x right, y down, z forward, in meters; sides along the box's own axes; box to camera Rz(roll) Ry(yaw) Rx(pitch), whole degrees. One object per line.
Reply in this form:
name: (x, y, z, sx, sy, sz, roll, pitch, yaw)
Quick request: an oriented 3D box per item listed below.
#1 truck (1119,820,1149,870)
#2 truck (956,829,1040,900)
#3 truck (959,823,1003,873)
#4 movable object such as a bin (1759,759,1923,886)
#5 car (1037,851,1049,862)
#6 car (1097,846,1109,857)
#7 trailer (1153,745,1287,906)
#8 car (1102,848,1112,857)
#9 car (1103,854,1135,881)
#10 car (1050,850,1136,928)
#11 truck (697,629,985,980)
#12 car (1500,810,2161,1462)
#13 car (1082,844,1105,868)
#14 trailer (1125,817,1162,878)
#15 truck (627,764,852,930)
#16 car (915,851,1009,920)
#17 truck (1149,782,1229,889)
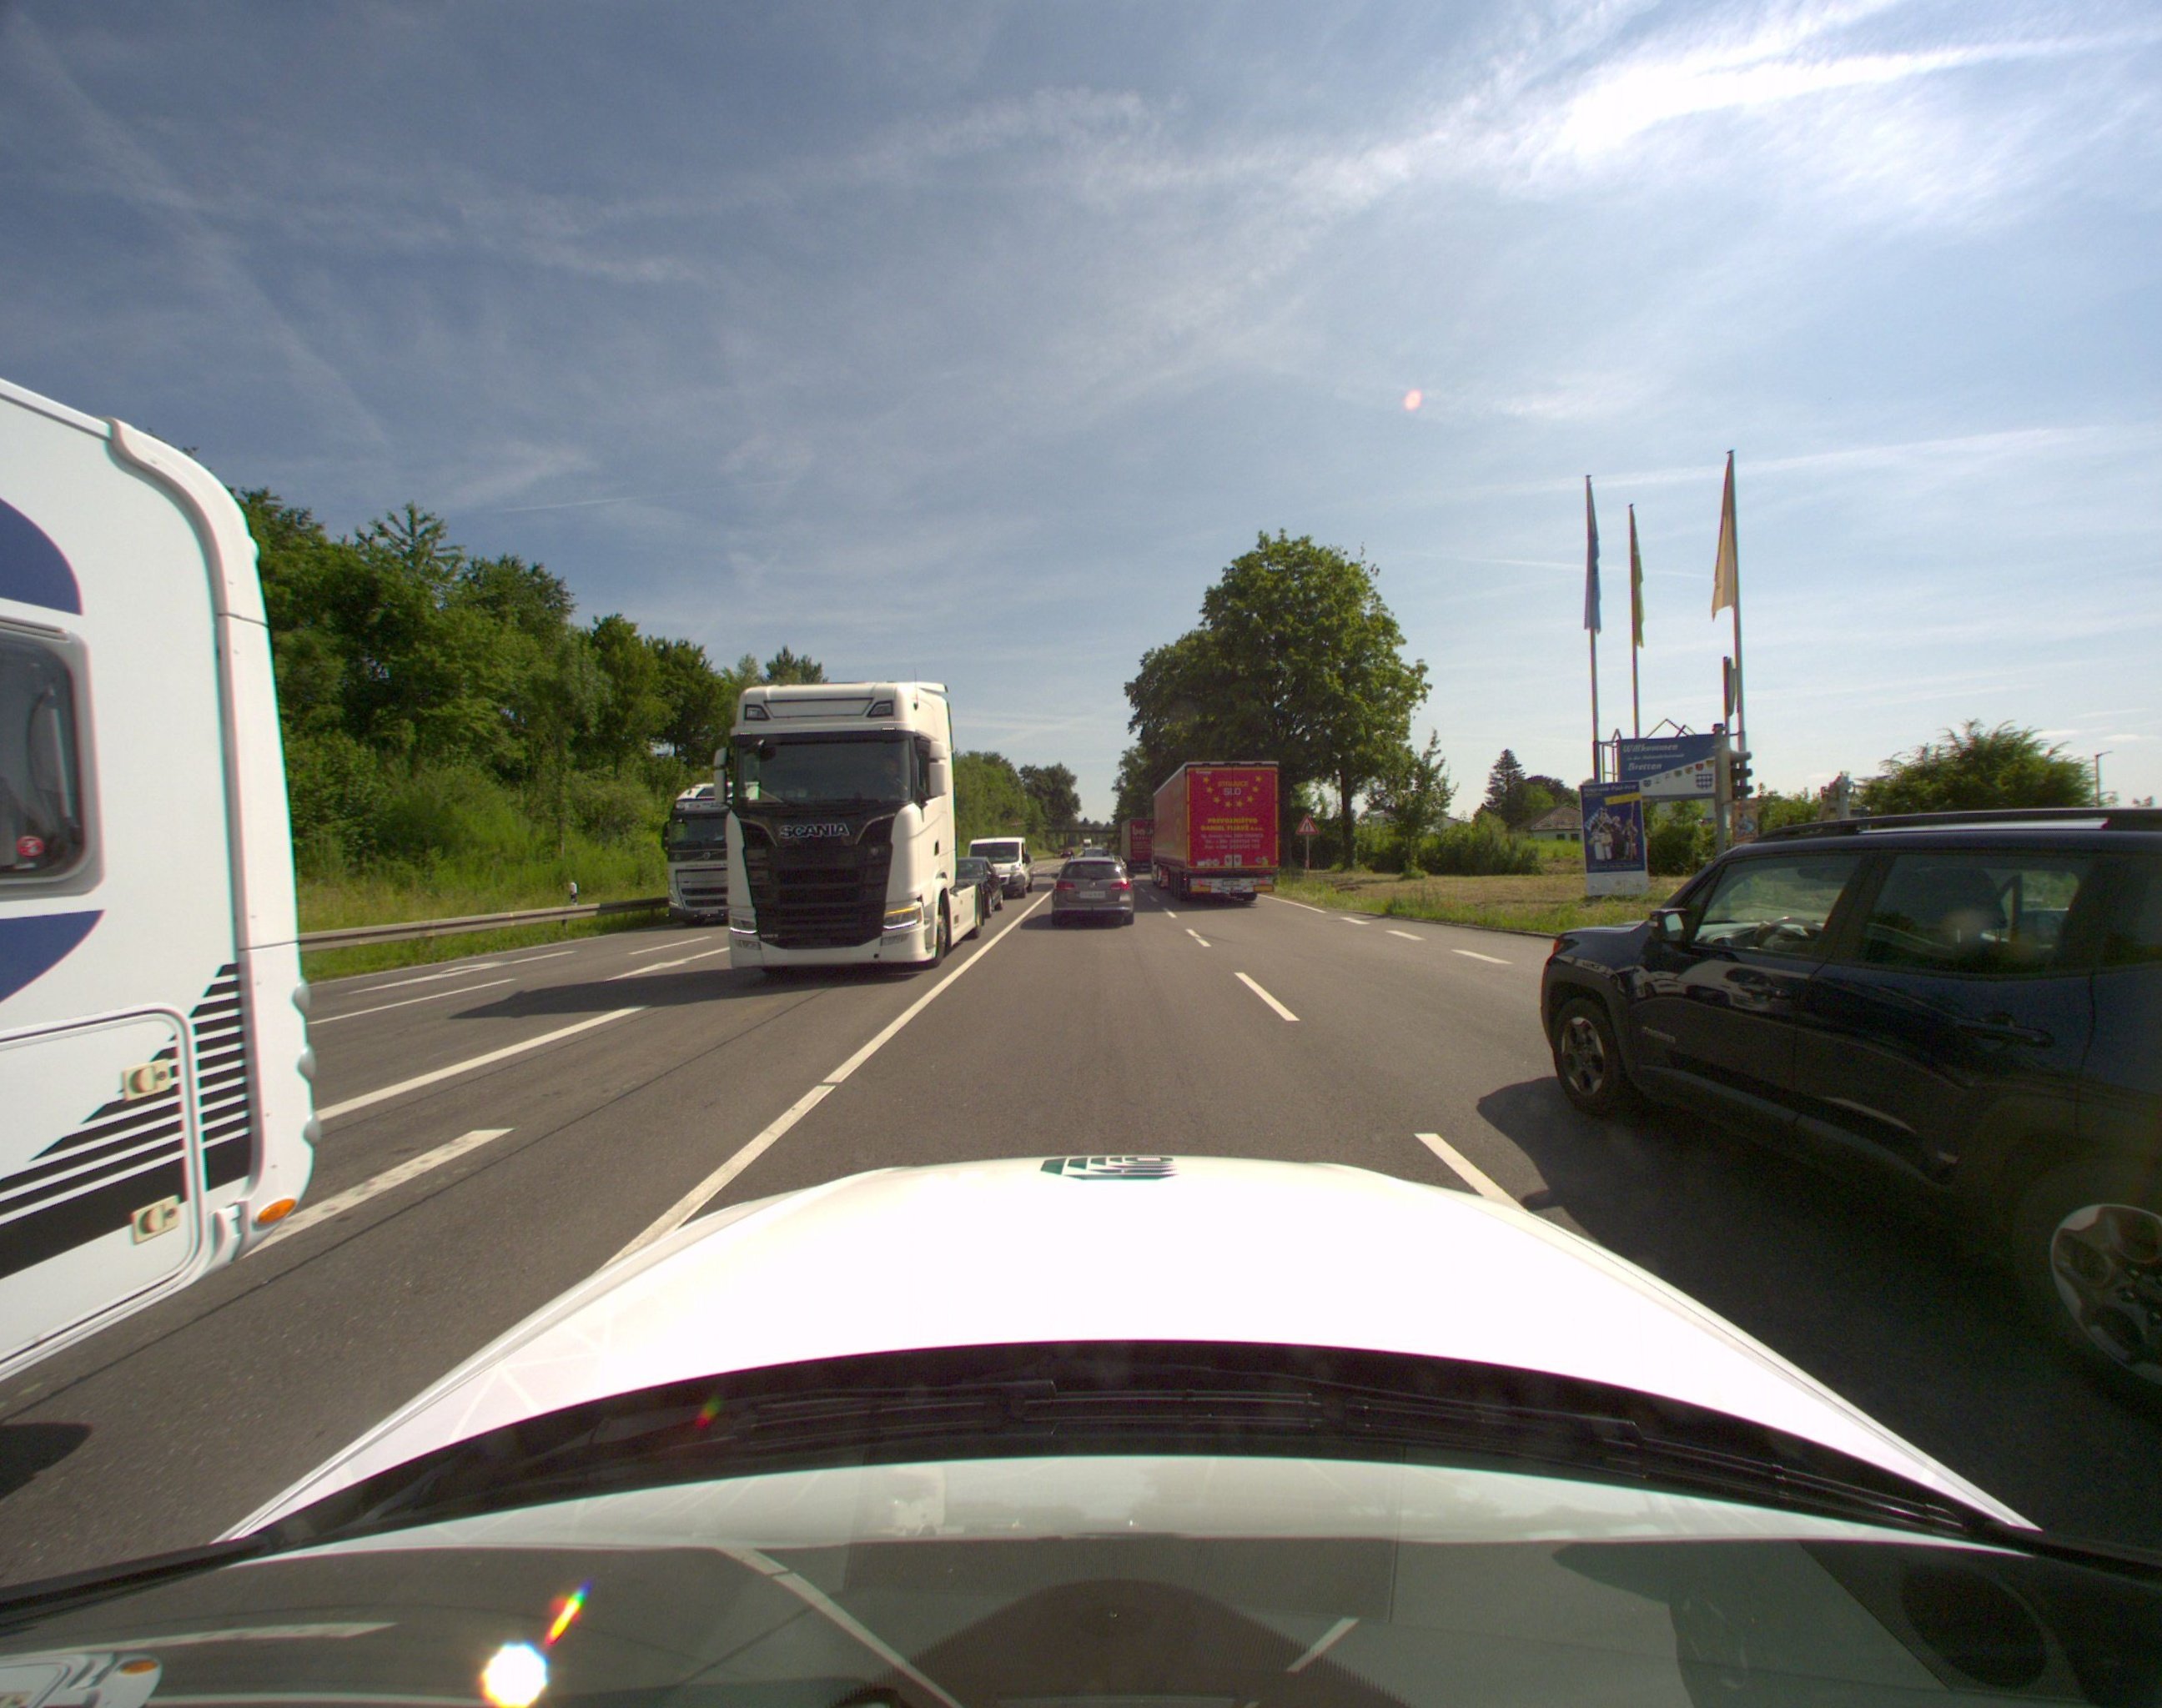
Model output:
truck: (4.617, -0.729, 71.571, 2.396, 4.127, 5.525, -2, 0, 3)
truck: (-2.931, 0.370, 30.393, 2.219, 2.267, 6.501, -2, 0, 1)
truck: (-7.539, -0.392, 62.030, 2.335, 3.520, 6.697, -2, 0, 1)
movable object such as a bin: (22.275, -0.836, 24.244, 2.863, 3.208, 6.748, -3, 0, 38)
car: (-6.751, 0.401, 145.729, 1.967, 1.796, 4.807, -2, 0, 0)
car: (4.193, -0.474, 155.843, 1.987, 2.013, 4.000, -2, 0, 1)
trailer: (4.373, -0.766, 28.798, 2.829, 4.365, 13.172, 0, 0, 2)
car: (5.814, -0.292, 180.920, 1.987, 2.013, 4.000, -2, 0, 1)
car: (2.311, 0.817, 49.935, 1.764, 1.513, 4.000, -2, 0, 0)
car: (0.262, 0.727, 18.588, 1.686, 1.513, 4.000, -2, 0, 0)
truck: (-3.232, -0.585, 12.849, 2.529, 4.088, 6.264, -2, 0, 0)
car: (3.669, 0.684, 3.518, 1.763, 1.654, 4.003, -2, 0, 3)
car: (1.053, 0.187, 69.379, 1.764, 1.936, 3.977, -2, 0, 0)
trailer: (4.829, -0.460, 65.083, 2.385, 4.243, 13.086, -2, 0, 3)
truck: (-10.063, -0.169, 25.604, 2.820, 4.116, 9.681, -2, 0, 0)
car: (-2.947, 0.746, 21.037, 1.705, 1.551, 4.109, -2, 0, 1)
truck: (4.549, -0.733, 35.395, 2.859, 4.281, 5.842, 0, 0, 2)
